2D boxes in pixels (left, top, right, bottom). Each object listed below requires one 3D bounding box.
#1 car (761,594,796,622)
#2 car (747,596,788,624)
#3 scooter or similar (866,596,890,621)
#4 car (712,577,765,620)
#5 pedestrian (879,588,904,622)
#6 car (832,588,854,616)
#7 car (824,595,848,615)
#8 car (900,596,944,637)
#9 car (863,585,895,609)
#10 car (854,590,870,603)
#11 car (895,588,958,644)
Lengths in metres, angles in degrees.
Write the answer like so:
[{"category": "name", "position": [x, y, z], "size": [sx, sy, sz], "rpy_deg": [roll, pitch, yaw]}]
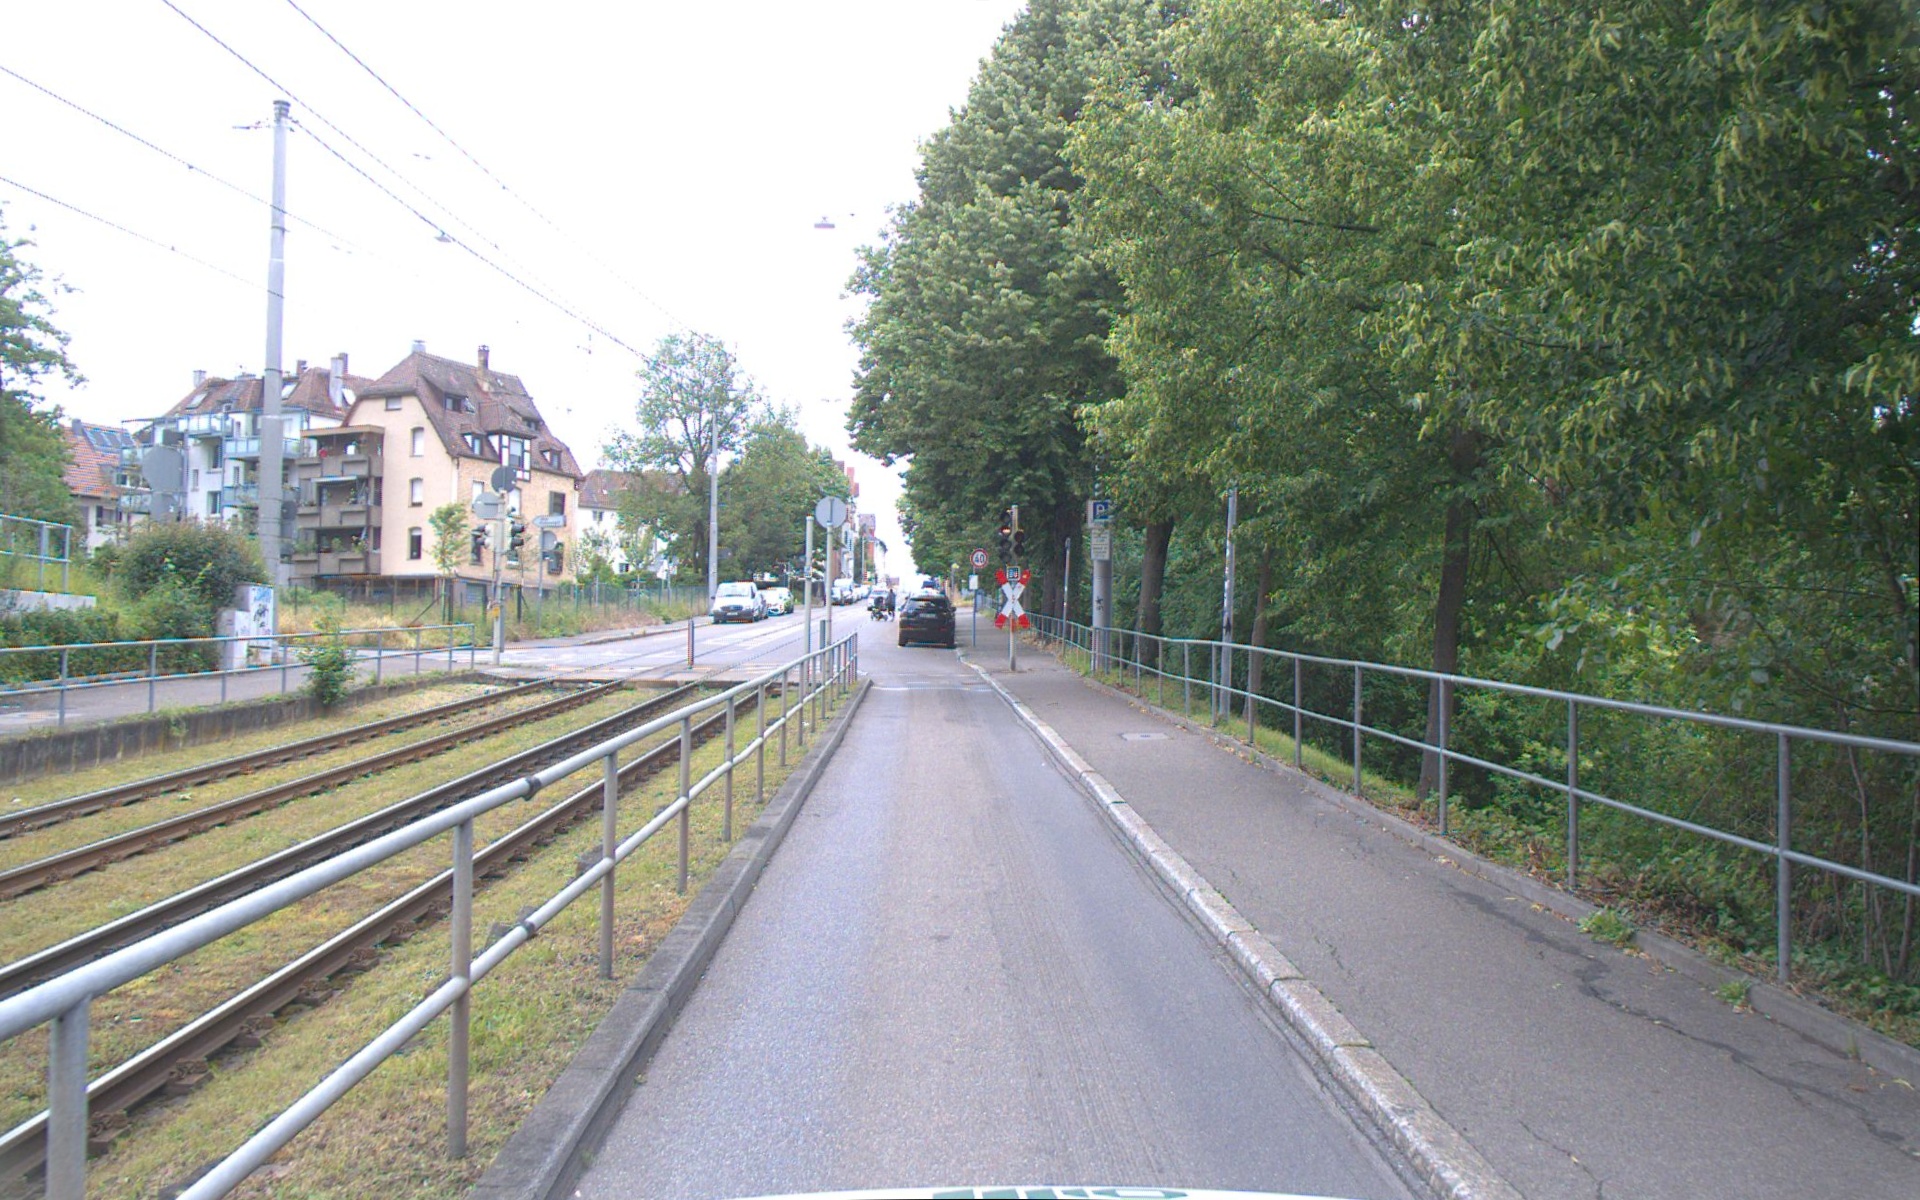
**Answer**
[{"category": "car", "position": [-10.819, 0.478, 98.900], "size": [1.688, 1.607, 4.180], "rpy_deg": [0, 0, -1]}, {"category": "car", "position": [-10.788, 0.555, 93.113], "size": [1.847, 1.553, 4.662], "rpy_deg": [-1, 0, -1]}, {"category": "scooter or similar", "position": [-4.048, 0.429, 81.859], "size": [0.824, 1.217, 0.803], "rpy_deg": [0, -1, 41]}, {"category": "car", "position": [-10.549, -0.047, 78.897], "size": [1.995, 1.914, 4.882], "rpy_deg": [-2, -1, -2]}, {"category": "pedestrian", "position": [-3.374, 0.245, 81.406], "size": [0.900, 1.657, 0.803], "rpy_deg": [0, -1, 41]}, {"category": "car", "position": [-12.255, 0.198, 173.840], "size": [2.186, 2.813, 5.795], "rpy_deg": [1, -1, -3]}, {"category": "car", "position": [-11.949, 0.511, 159.351], "size": [1.952, 1.840, 4.000], "rpy_deg": [1, -1, 0]}, {"category": "car", "position": [-1.677, 0.730, 75.107], "size": [1.839, 1.707, 5.062], "rpy_deg": [3, 0, -1]}, {"category": "car", "position": [-5.398, -0.166, 110.378], "size": [1.953, 1.525, 4.311], "rpy_deg": [1, -1, -1]}, {"category": "car", "position": [-12.894, -0.426, 217.678], "size": [1.885, 1.629, 3.999], "rpy_deg": [1, -1, -1]}, {"category": "car", "position": [-1.028, 0.484, 53.116], "size": [1.865, 1.643, 4.600], "rpy_deg": [2, 0, 0]}]
